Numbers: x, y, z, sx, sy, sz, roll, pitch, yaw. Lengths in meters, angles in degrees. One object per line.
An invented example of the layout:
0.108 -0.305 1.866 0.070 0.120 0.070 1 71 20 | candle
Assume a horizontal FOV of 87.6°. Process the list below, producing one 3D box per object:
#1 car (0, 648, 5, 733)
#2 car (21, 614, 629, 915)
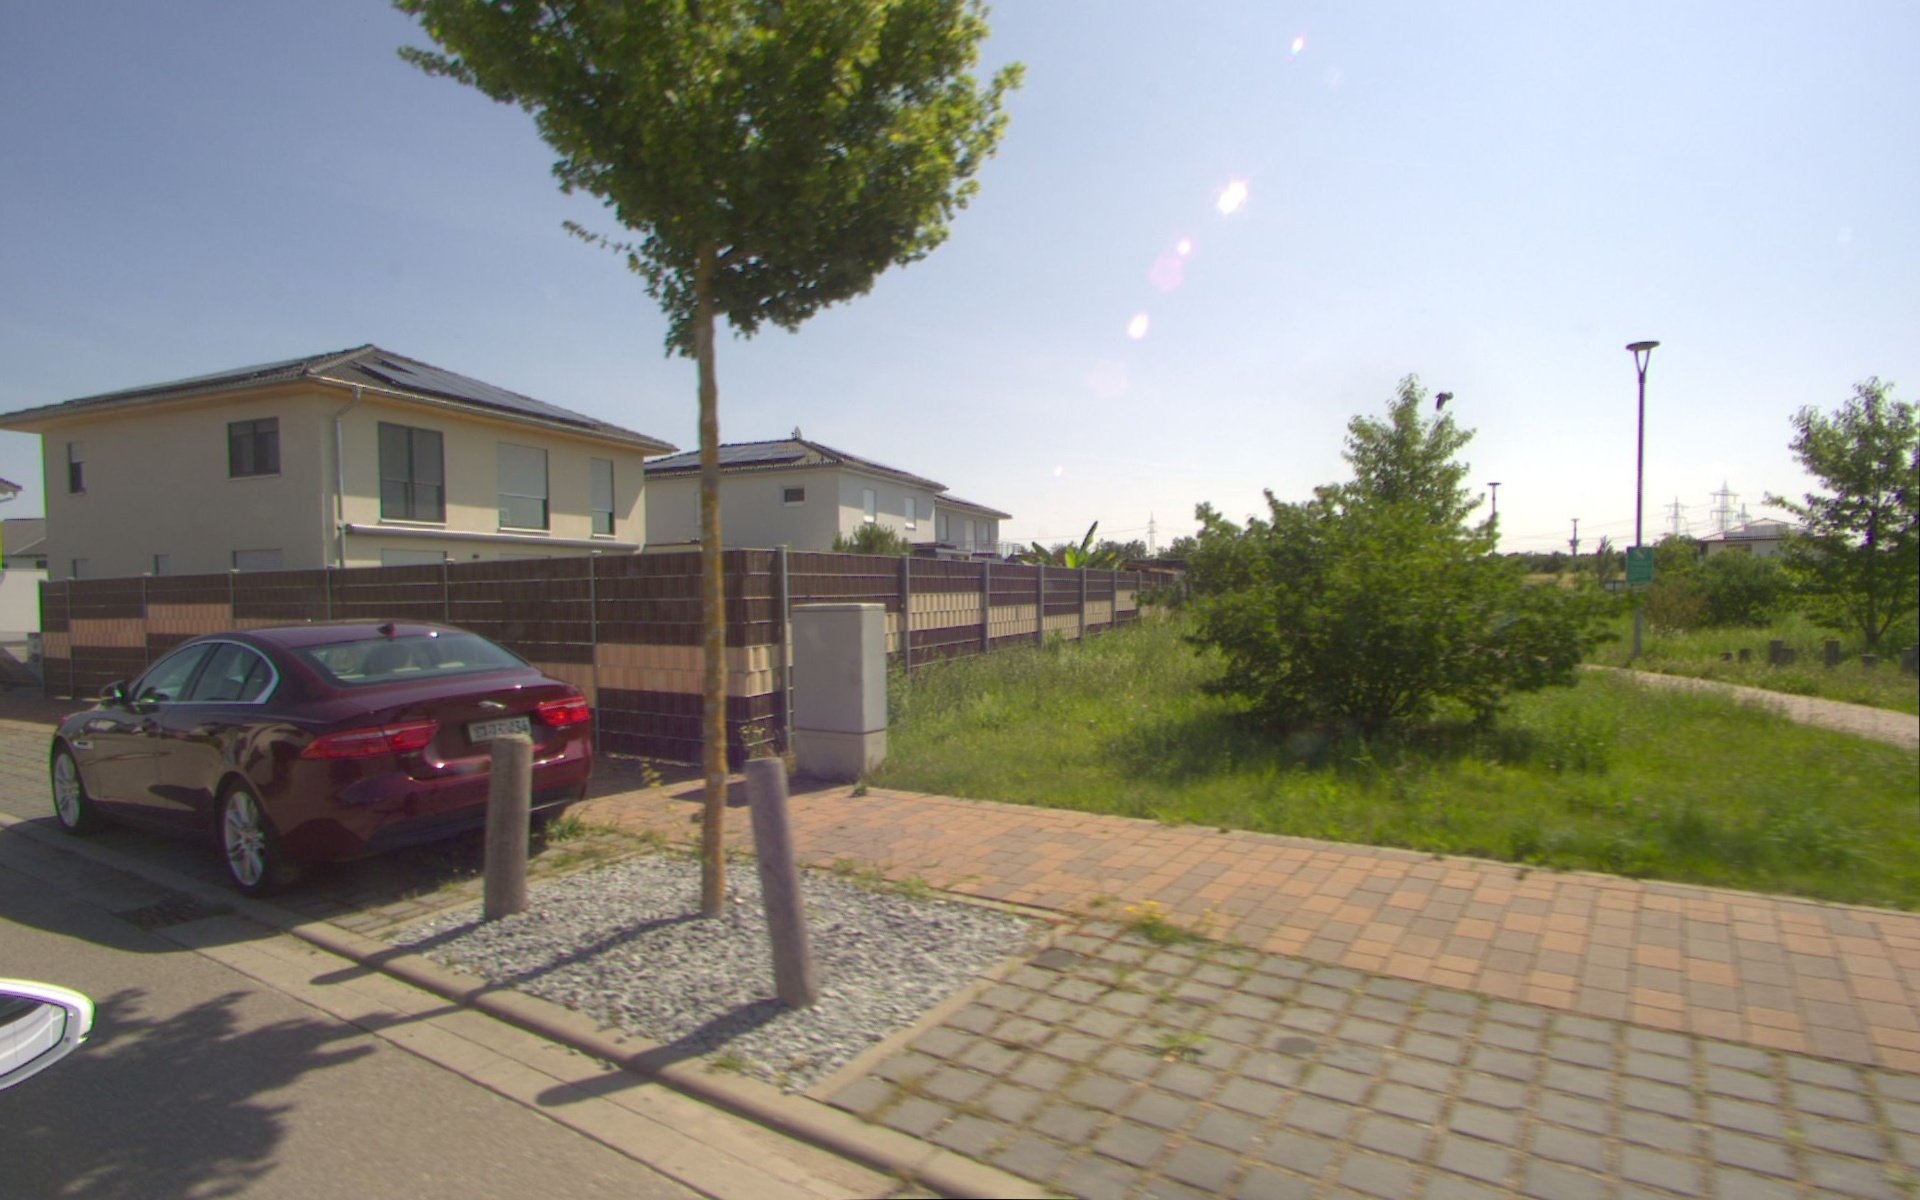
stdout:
-13.634 0.888 12.314 4.457 1.457 1.757 -1 2 34 | car
-4.418 0.809 6.724 4.512 1.381 1.750 -1 1 34 | car
